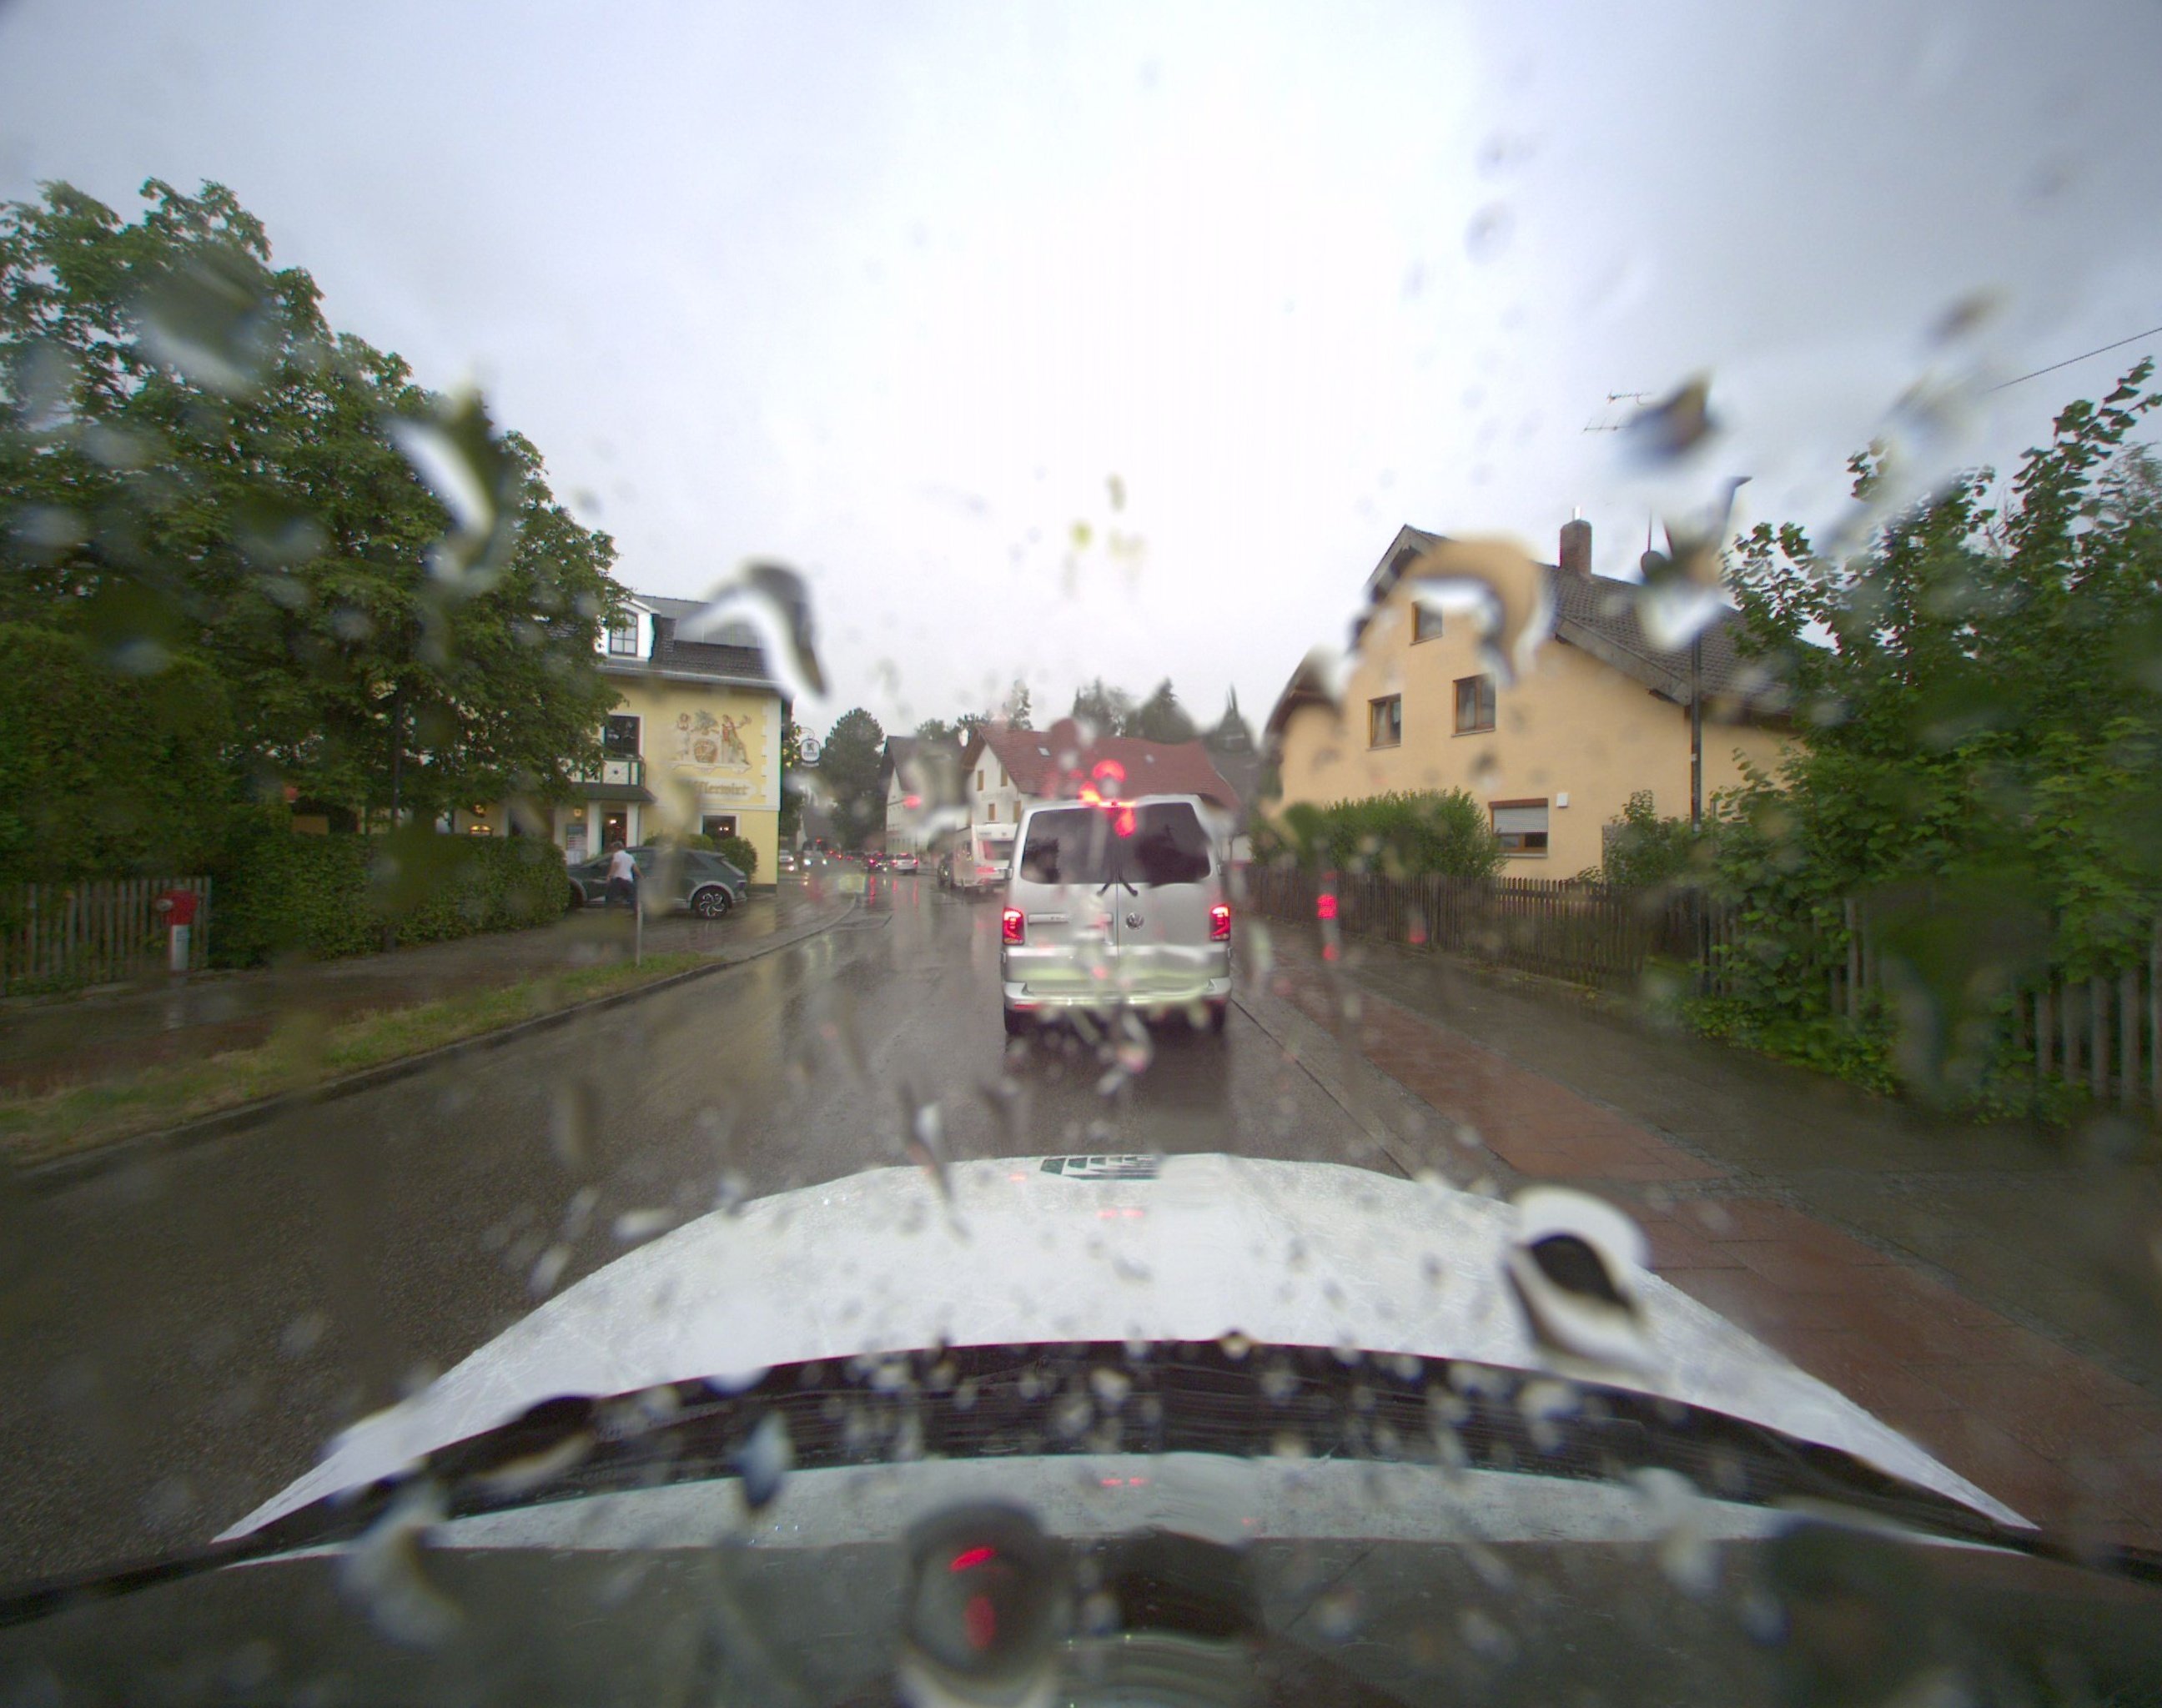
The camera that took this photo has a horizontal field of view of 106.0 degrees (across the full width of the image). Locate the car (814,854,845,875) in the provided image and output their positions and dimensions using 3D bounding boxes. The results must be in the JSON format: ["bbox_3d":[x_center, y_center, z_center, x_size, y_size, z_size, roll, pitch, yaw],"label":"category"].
[{"bbox_3d":[-24.694,1.023,79.840,2.179,1.899,4.974,1,0,-25],"label":"car"}]

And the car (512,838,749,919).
[{"bbox_3d":[-10.161,0.575,18.733,4.499,1.567,1.824,4,1,-27],"label":"car"}]

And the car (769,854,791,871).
[{"bbox_3d":[-31.393,0.860,84.813,1.762,1.677,3.966,-1,0,-26],"label":"car"}]

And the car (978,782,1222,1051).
[{"bbox_3d":[0.237,0.467,8.567,1.769,1.962,5.077,-1,0,2],"label":"car"}]

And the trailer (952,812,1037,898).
[{"bbox_3d":[-3.431,0.034,31.023,2.275,2.904,6.101,-1,0,-15],"label":"trailer"}]

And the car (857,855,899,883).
[{"bbox_3d":[-15.237,1.076,60.889,2.179,1.899,4.974,1,0,-25],"label":"car"}]

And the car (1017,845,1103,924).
[{"bbox_3d":[-0.619,0.611,19.414,1.706,1.584,4.677,-2,1,-5],"label":"car"}]

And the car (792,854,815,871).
[{"bbox_3d":[-34.030,0.997,99.869,2.179,1.899,4.974,1,0,-25],"label":"car"}]

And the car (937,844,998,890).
[{"bbox_3d":[-5.153,0.544,36.406,2.057,1.899,5.149,-1,0,-15],"label":"car"}]

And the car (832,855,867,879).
[{"bbox_3d":[-19.791,1.076,69.530,2.179,1.899,4.974,1,0,-25],"label":"car"}]

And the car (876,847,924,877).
[{"bbox_3d":[-12.314,0.551,55.129,2.179,1.899,4.973,1,-1,-25],"label":"car"}]

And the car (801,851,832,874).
[{"bbox_3d":[-21.622,0.702,66.498,1.932,1.744,4.157,-1,0,-25],"label":"car"}]

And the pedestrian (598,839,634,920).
[{"bbox_3d":[-9.878,0.539,17.308,0.555,1.690,0.488,4,-1,-30],"label":"pedestrian"}]
